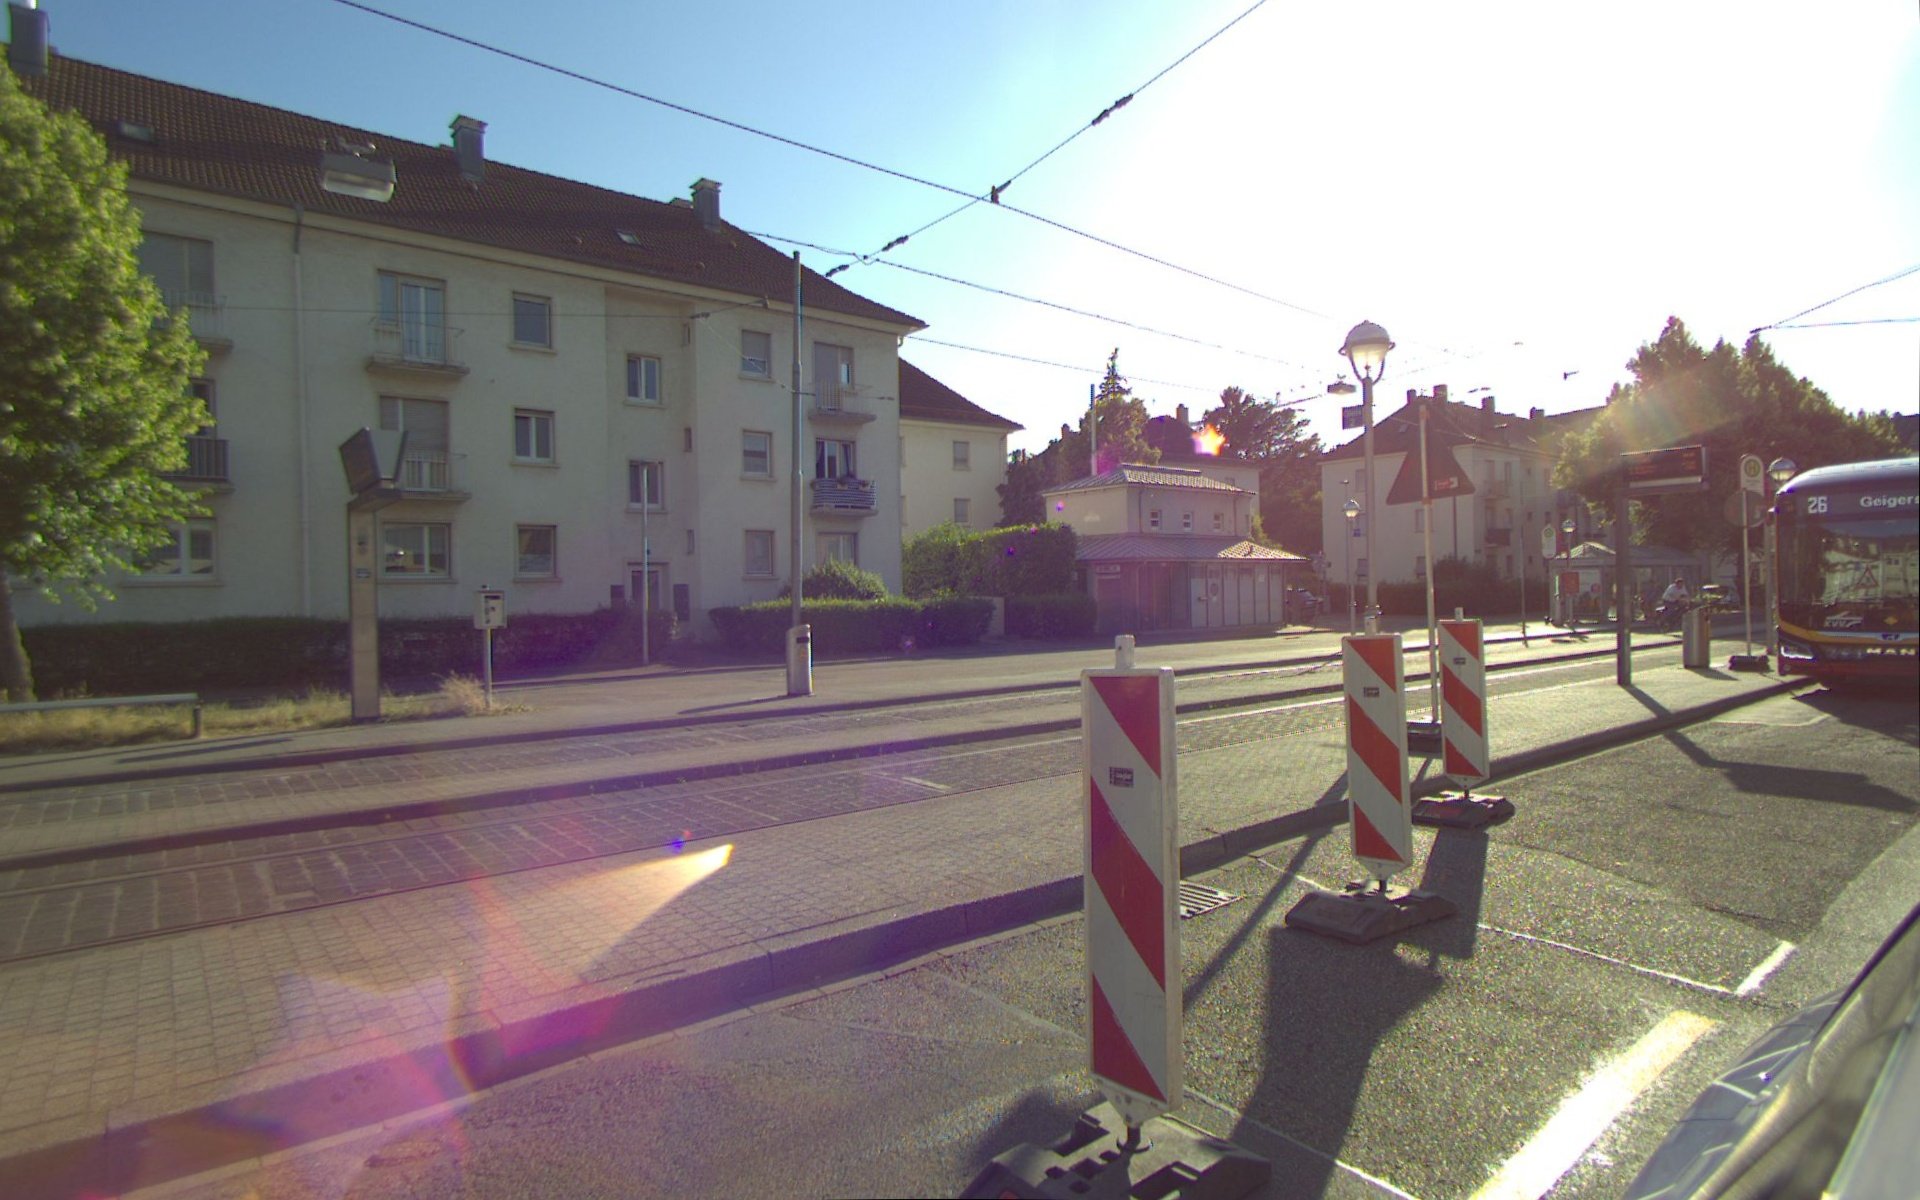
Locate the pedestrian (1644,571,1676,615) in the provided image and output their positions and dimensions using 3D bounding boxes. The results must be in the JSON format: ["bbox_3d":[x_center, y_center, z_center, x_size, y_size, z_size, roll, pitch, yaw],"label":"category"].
[{"bbox_3d":[26.137,-0.274,37.808,0.816,1.631,0.835,0,1,25],"label":"pedestrian"}]

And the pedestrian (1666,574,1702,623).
[{"bbox_3d":[21.062,-0.046,29.443,0.568,1.398,0.660,-1,1,-23],"label":"pedestrian"}]

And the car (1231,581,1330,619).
[{"bbox_3d":[15.059,0.013,47.714,1.963,1.694,4.053,-1,0,-37],"label":"car"}]

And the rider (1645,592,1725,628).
[{"bbox_3d":[21.069,0.279,29.456,0.568,1.004,1.861,-1,1,-23],"label":"rider"}]

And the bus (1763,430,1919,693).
[{"bbox_3d":[16.619,-0.584,16.811,11.817,3.344,2.747,-1,1,-40],"label":"bus"}]

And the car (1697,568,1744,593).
[{"bbox_3d":[58.436,-1.493,77.779,3.928,1.887,1.998,-2,1,-39],"label":"car"}]
